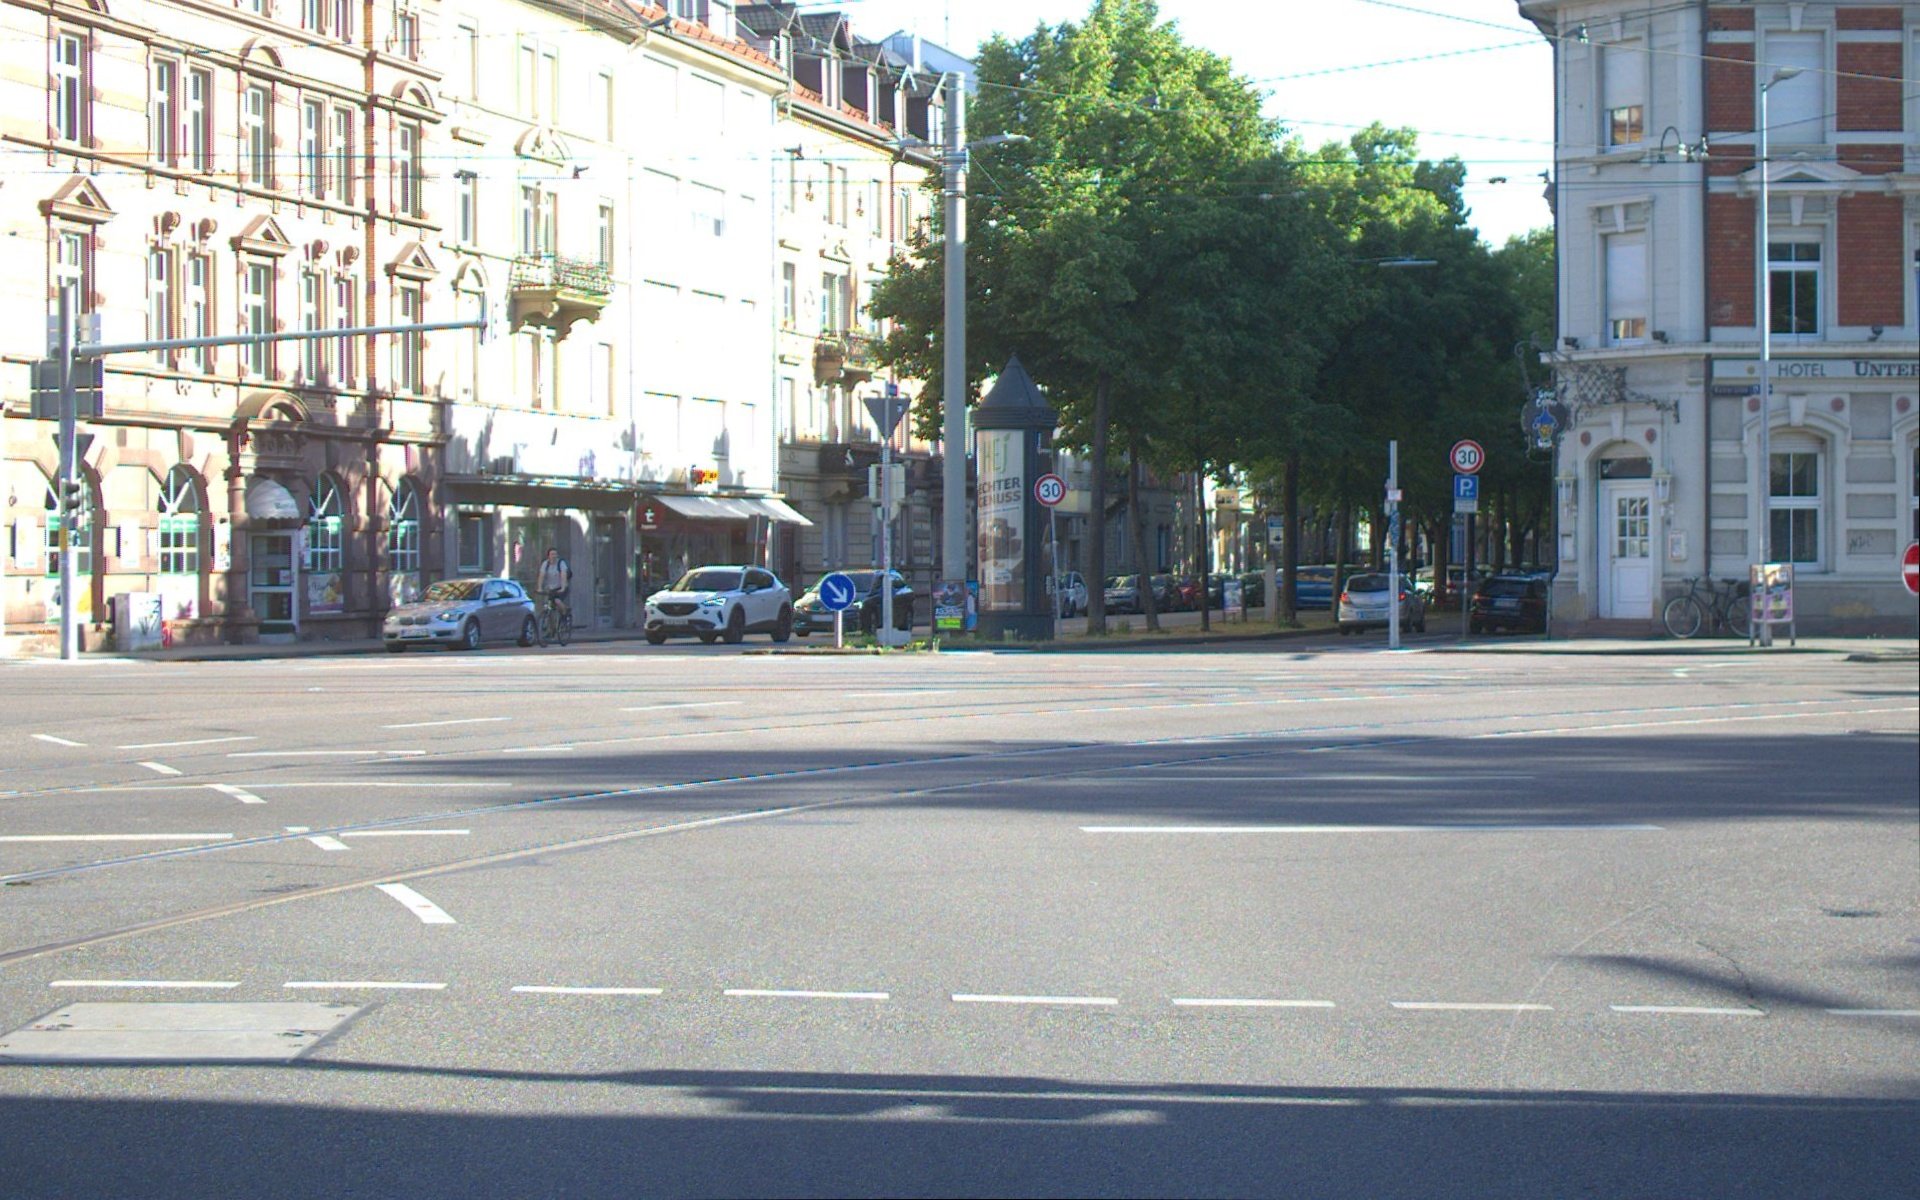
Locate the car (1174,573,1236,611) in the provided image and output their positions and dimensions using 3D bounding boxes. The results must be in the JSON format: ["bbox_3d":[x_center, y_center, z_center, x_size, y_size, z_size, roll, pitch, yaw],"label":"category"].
[{"bbox_3d":[9.723,-0.337,136.394,1.742,1.393,4.121,3,1,13],"label":"car"}]

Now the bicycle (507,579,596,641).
[{"bbox_3d":[-7.908,0.183,66.665,0.751,1.131,2.808,0,1,14],"label":"bicycle"}]

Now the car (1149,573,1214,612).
[{"bbox_3d":[8.505,-0.303,131.616,1.742,1.393,4.121,3,1,13],"label":"car"}]

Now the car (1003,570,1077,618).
[{"bbox_3d":[2.594,-0.208,110.009,1.741,1.393,4.122,3,1,9],"label":"car"}]

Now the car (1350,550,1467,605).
[{"bbox_3d":[17.406,-0.866,133.432,4.115,1.912,1.744,3,1,21],"label":"car"}]

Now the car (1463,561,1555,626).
[{"bbox_3d":[13.165,-0.151,82.294,1.652,1.519,3.750,0,0,17],"label":"car"}]

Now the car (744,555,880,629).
[{"bbox_3d":[-3.132,-0.186,73.541,1.994,1.508,3.998,0,1,12],"label":"car"}]

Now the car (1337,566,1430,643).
[{"bbox_3d":[10.117,0.089,81.952,1.675,1.750,3.756,0,1,15],"label":"car"}]

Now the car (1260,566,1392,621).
[{"bbox_3d":[12.288,-0.217,115.234,4.113,1.640,1.745,3,1,15],"label":"car"}]

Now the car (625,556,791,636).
[{"bbox_3d":[-4.881,-0.100,67.174,2.098,1.494,3.998,0,1,14],"label":"car"}]

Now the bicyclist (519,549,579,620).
[{"bbox_3d":[-7.950,-0.303,66.530,0.794,1.370,1.107,0,1,14],"label":"bicyclist"}]

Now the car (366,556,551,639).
[{"bbox_3d":[-9.780,-0.068,67.388,2.098,1.540,4.361,0,1,14],"label":"car"}]

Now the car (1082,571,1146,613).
[{"bbox_3d":[5.504,-0.293,122.791,1.741,1.393,4.122,3,1,9],"label":"car"}]

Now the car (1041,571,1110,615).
[{"bbox_3d":[3.918,-0.247,115.814,1.741,1.393,4.122,3,1,9],"label":"car"}]

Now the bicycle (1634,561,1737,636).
[{"bbox_3d":[12.059,-0.031,57.142,1.639,1.218,0.606,0,1,16],"label":"bicycle"}]

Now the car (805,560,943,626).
[{"bbox_3d":[-1.929,-0.174,78.909,2.098,1.442,4.361,0,1,14],"label":"car"}]
